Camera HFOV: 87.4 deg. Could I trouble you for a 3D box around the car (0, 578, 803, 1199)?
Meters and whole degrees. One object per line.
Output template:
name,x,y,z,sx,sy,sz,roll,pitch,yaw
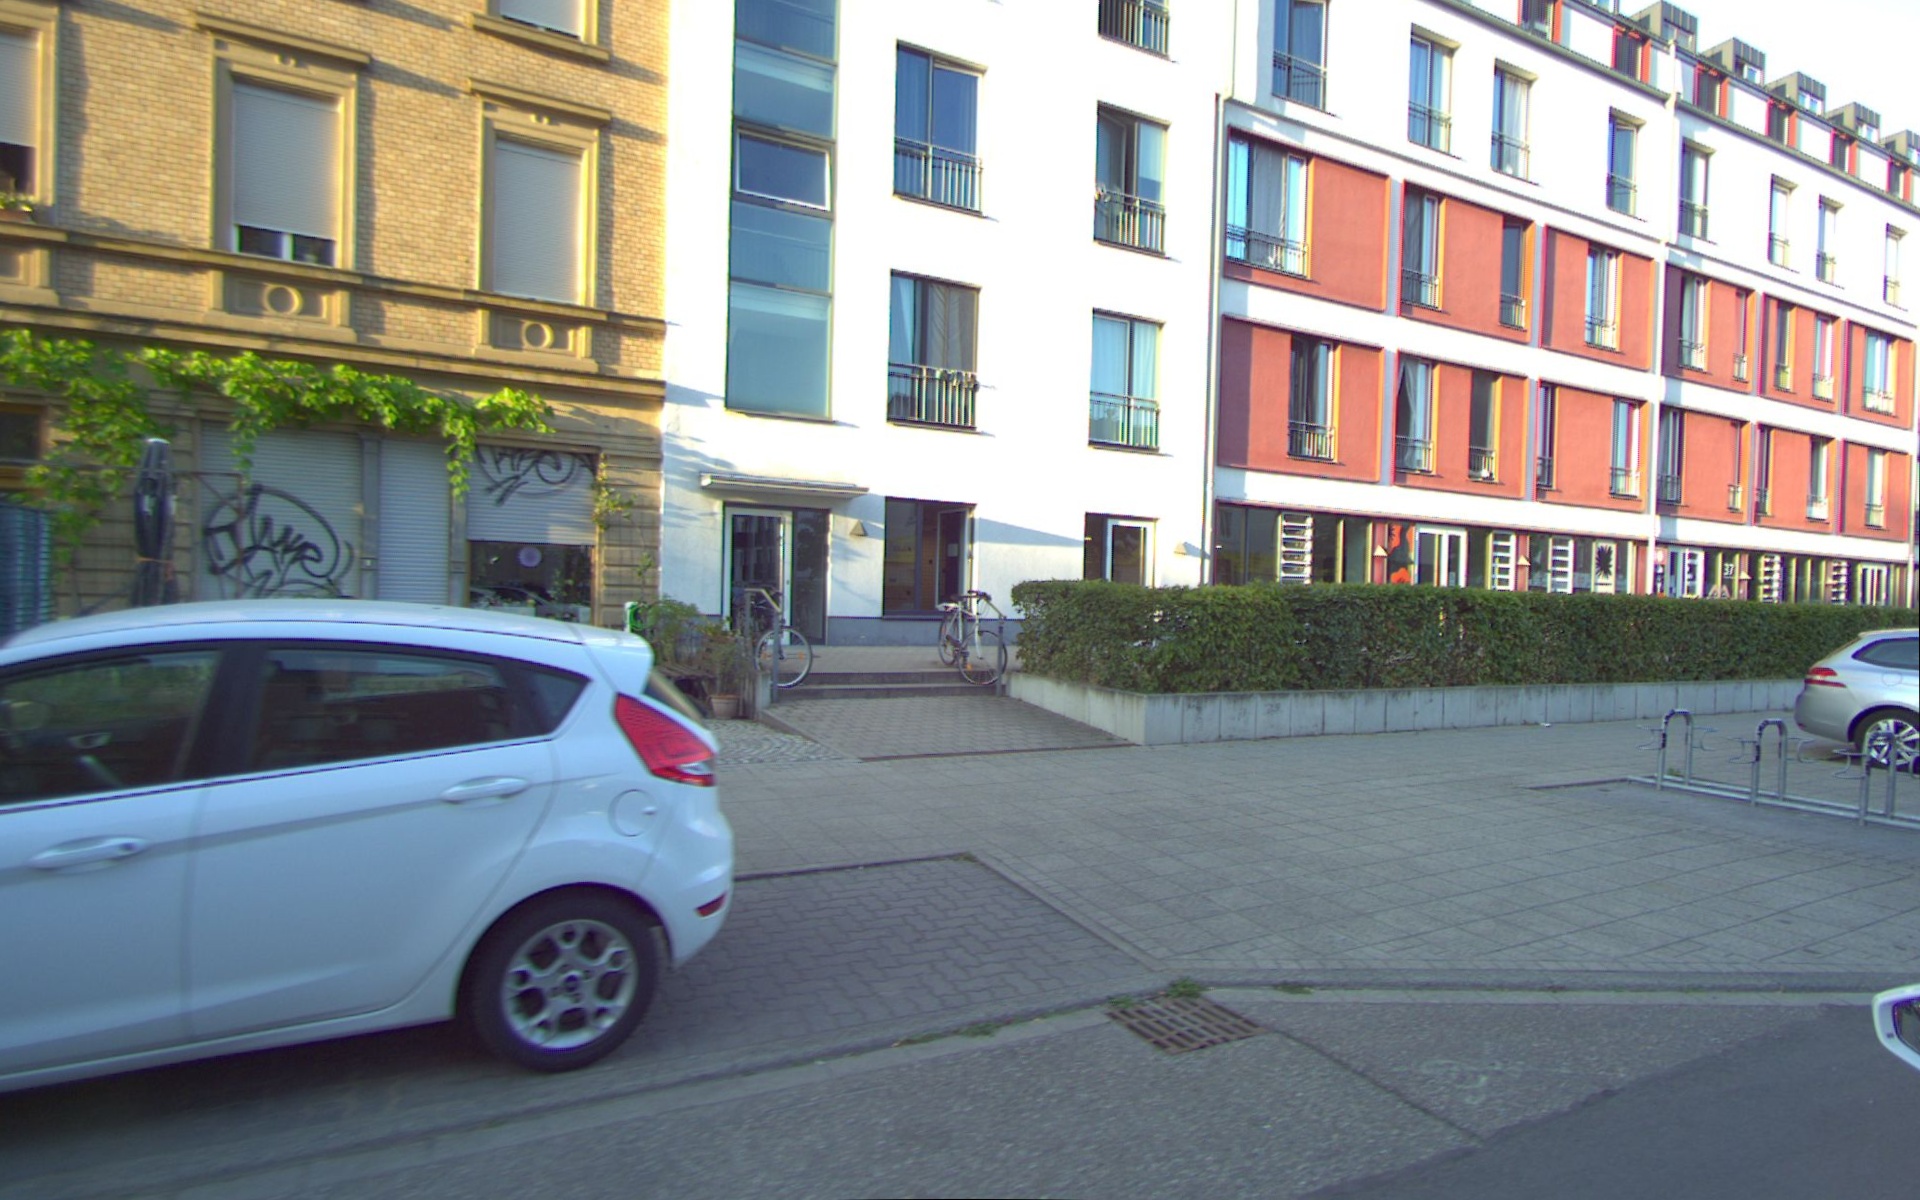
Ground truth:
car,-2.693,0.730,3.304,3.969,1.551,1.643,1,1,-30

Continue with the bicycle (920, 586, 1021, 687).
bicycle,0.104,0.430,12.960,0.602,1.163,1.771,1,2,-23

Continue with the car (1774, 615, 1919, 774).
car,10.693,1.016,9.230,1.858,1.480,4.594,1,2,-29

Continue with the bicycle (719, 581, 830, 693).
bicycle,-2.214,0.394,11.798,0.801,1.157,1.909,1,2,-25

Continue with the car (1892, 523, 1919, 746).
car,13.035,0.509,10.373,1.973,2.619,4.498,1,2,-24
